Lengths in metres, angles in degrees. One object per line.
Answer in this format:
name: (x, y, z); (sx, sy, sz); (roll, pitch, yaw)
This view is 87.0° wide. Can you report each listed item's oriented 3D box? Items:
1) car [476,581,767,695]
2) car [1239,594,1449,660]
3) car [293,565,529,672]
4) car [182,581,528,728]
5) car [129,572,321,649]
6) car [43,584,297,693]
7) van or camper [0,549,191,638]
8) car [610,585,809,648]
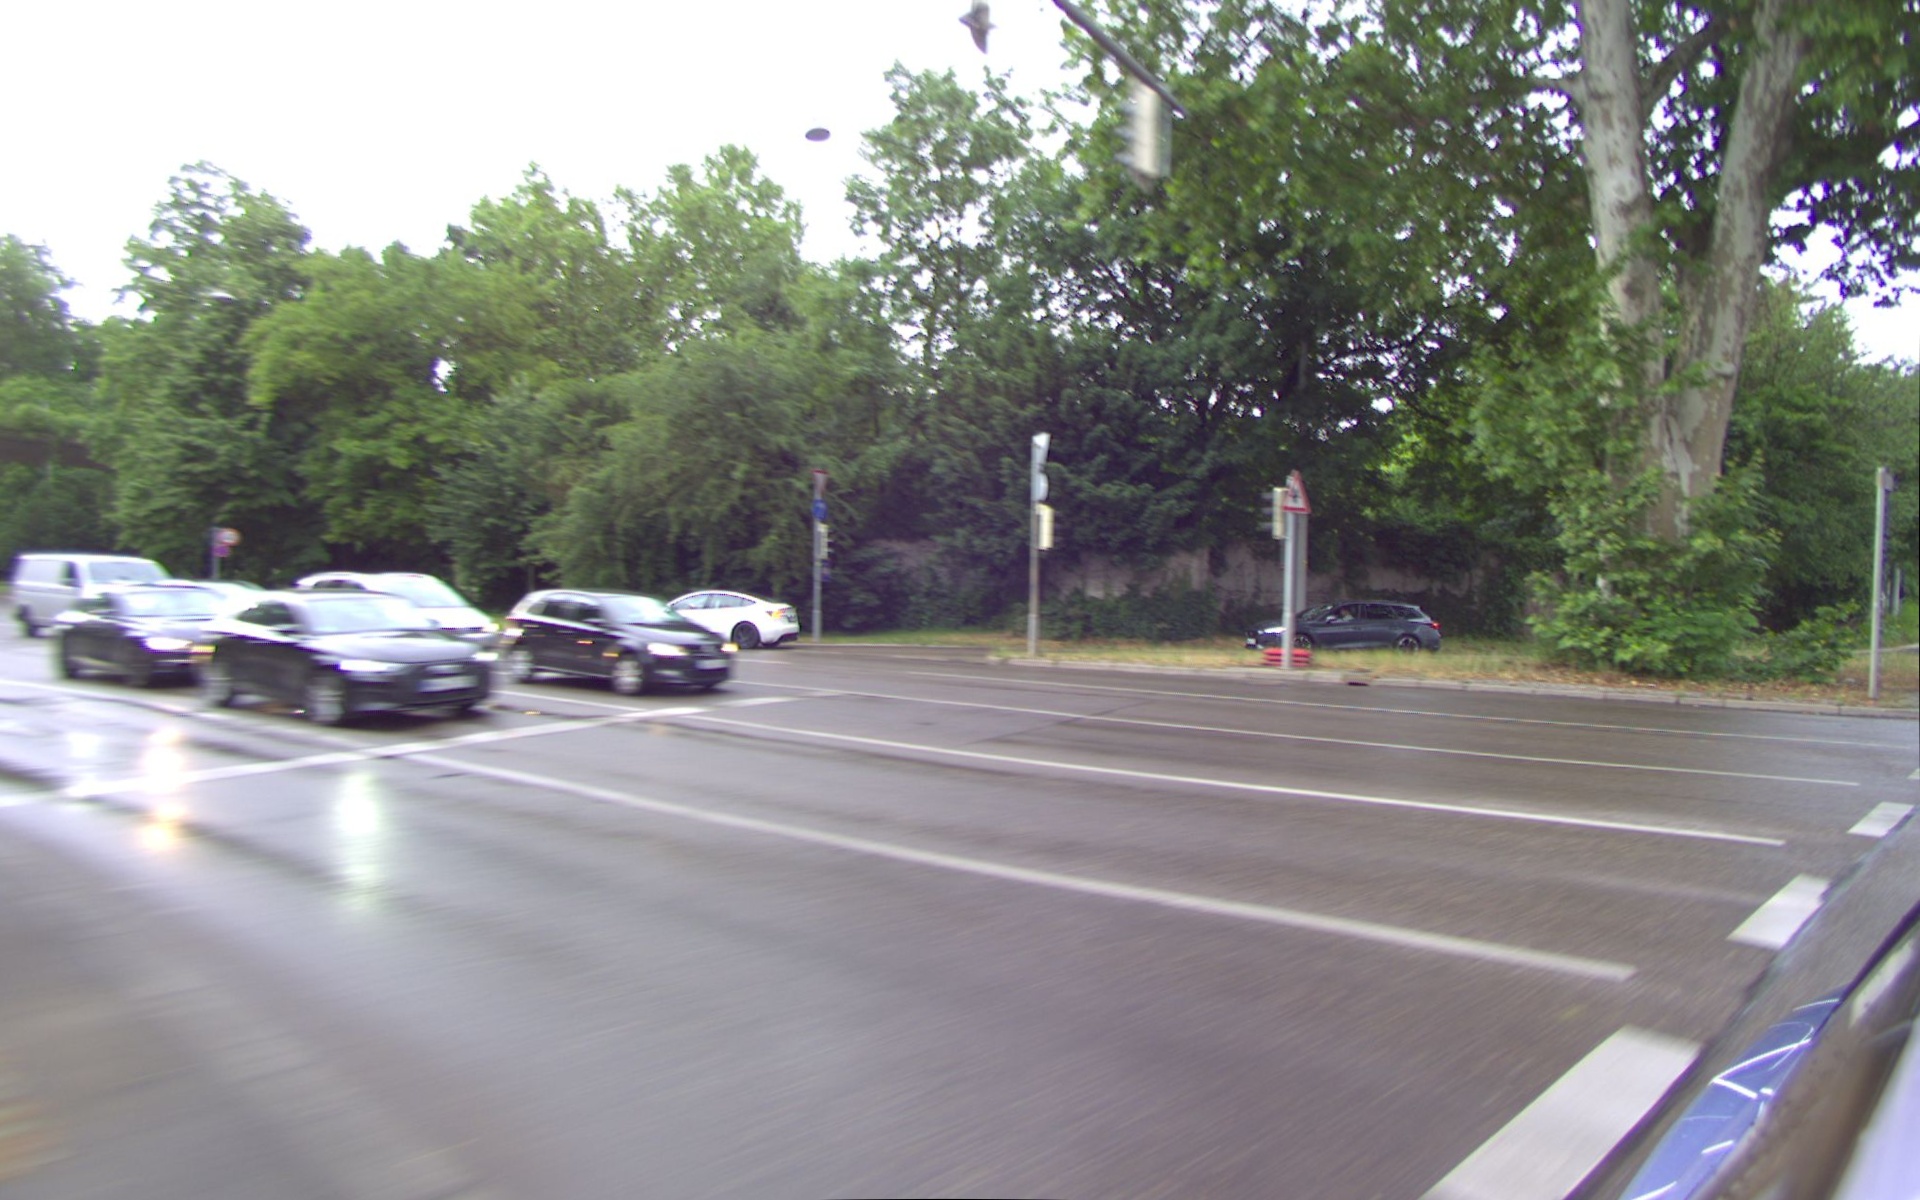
car: (-5.056, 0.482, 15.011); (4.164, 1.479, 1.774); (1, 0, 30)
car: (9.158, 0.642, 24.356); (4.326, 1.421, 1.755); (-1, -2, -4)
car: (-9.787, 0.268, 17.975); (4.177, 1.701, 1.886); (0, 0, 32)
car: (-7.350, 0.522, 12.206); (4.181, 1.458, 1.928); (1, 1, 32)
car: (-15.531, 0.247, 21.367); (3.822, 1.480, 1.644); (-2, -1, 25)
car: (-12.187, 0.488, 15.535); (4.416, 1.420, 1.808); (1, 1, 34)
van or camper: (-20.900, -0.134, 24.440); (4.819, 1.972, 1.889); (0, 0, 28)
car: (-6.265, 0.370, 25.487); (4.547, 1.467, 1.852); (1, 0, 12)
